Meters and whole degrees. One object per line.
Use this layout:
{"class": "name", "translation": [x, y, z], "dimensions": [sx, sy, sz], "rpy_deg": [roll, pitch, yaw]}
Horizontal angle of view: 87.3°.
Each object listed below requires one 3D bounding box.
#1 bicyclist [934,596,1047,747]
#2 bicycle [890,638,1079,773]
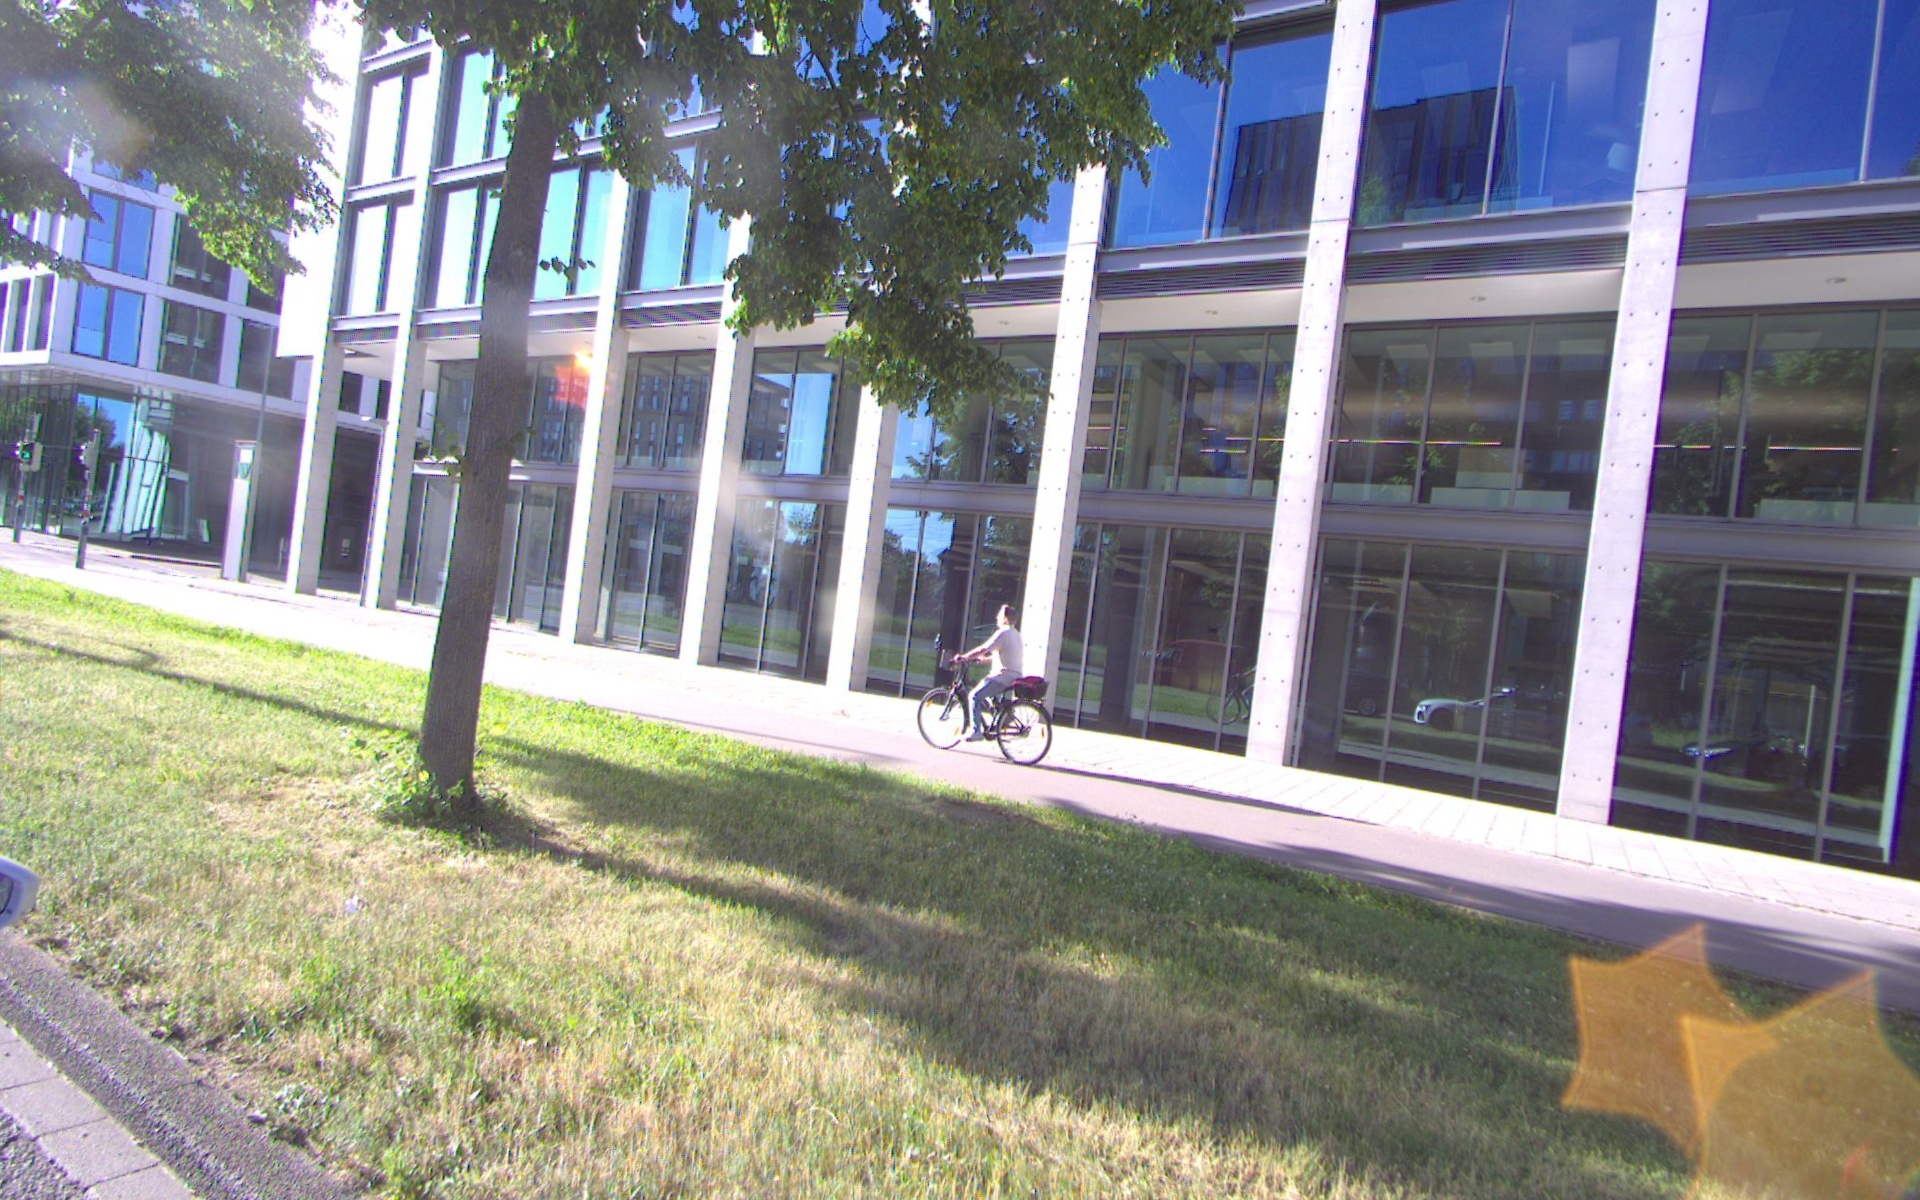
{"class": "bicyclist", "translation": [0.353, 0.799, 11.364], "dimensions": [0.835, 1.550, 0.772], "rpy_deg": [7, 0, 31]}
{"class": "bicycle", "translation": [0.261, 1.150, 11.403], "dimensions": [1.929, 1.189, 0.742], "rpy_deg": [7, 1, 32]}
